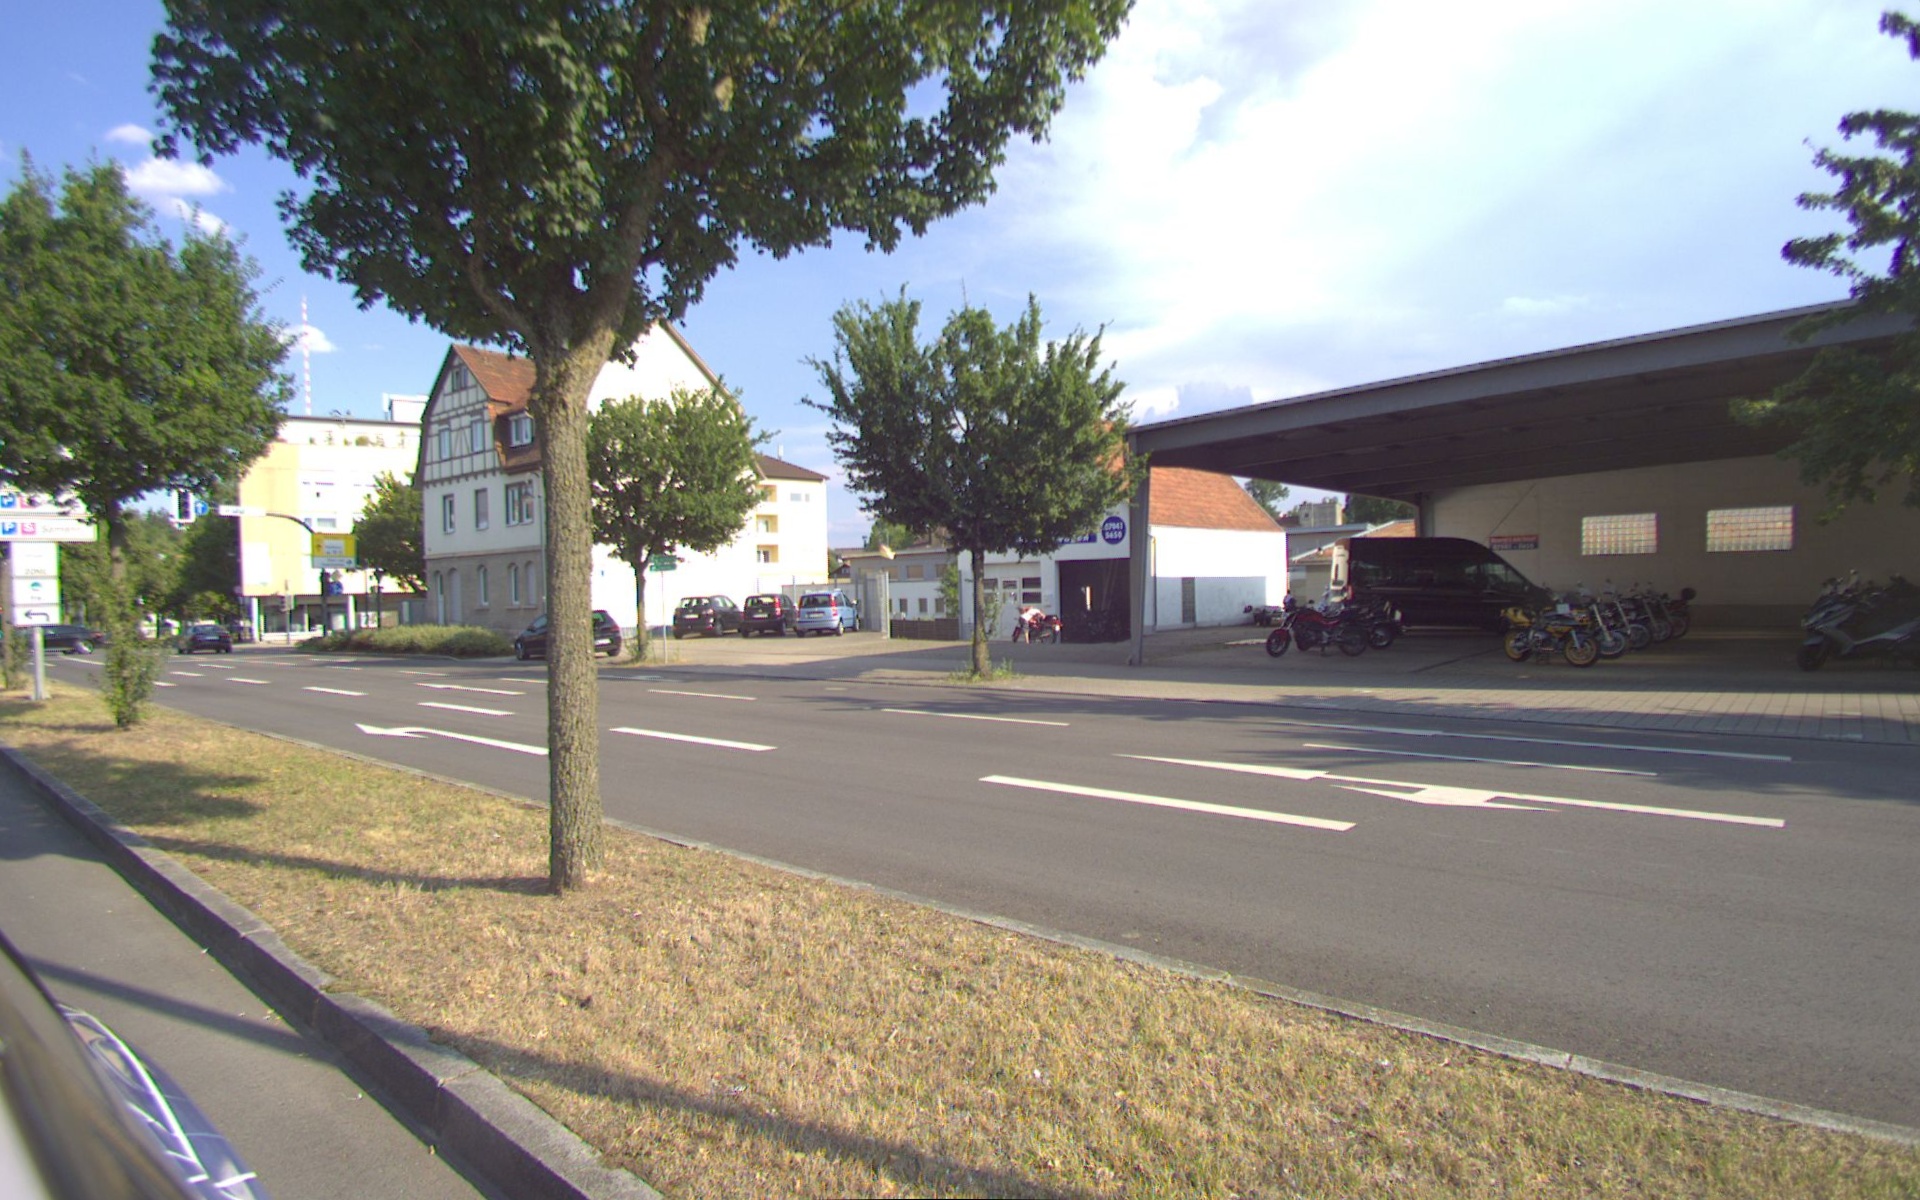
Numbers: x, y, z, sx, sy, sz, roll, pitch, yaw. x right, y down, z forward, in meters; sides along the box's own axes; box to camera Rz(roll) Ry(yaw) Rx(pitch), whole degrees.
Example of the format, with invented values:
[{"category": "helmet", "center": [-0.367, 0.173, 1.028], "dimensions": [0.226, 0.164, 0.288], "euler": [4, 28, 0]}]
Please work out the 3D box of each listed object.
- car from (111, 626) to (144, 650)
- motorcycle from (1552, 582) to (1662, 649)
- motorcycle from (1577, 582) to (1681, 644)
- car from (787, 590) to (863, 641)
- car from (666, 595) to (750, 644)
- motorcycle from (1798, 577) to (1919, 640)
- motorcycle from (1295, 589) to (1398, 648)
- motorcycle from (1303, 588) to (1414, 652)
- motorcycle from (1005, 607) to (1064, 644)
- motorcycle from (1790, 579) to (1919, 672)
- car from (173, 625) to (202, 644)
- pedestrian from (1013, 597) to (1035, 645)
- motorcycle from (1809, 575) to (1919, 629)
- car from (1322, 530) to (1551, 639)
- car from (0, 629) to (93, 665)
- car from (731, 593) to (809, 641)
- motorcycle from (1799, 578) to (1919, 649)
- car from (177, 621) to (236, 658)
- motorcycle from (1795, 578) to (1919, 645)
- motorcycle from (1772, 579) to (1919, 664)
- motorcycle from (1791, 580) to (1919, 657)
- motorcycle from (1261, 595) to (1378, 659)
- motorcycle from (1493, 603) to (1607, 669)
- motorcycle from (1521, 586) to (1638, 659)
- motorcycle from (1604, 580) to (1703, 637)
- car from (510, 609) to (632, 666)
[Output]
[{"category": "car", "center": [-62.669, 2.827, 76.218], "dimensions": [1.754, 1.706, 4.009], "euler": [-1, 0, -37]}, {"category": "motorcycle", "center": [13.864, 0.318, 21.774], "dimensions": [0.621, 1.347, 2.269], "euler": [-1, 0, -9]}, {"category": "motorcycle", "center": [15.537, 0.295, 23.584], "dimensions": [0.621, 1.347, 2.269], "euler": [-1, 0, -9]}, {"category": "car", "center": [-4.682, 0.513, 35.684], "dimensions": [1.797, 1.512, 3.819], "euler": [-3, 2, 5]}, {"category": "car", "center": [-9.321, 0.683, 37.706], "dimensions": [1.797, 1.512, 3.819], "euler": [-3, 2, 5]}, {"category": "motorcycle", "center": [20.228, 0.200, 22.649], "dimensions": [2.103, 1.306, 0.628], "euler": [-3, -1, 18]}, {"category": "motorcycle", "center": [9.379, 0.446, 24.613], "dimensions": [2.198, 1.372, 0.630], "euler": [-1, 0, 5]}, {"category": "motorcycle", "center": [8.956, 0.444, 22.810], "dimensions": [2.198, 1.372, 0.630], "euler": [-1, 0, 5]}, {"category": "motorcycle", "center": [2.434, 0.831, 33.216], "dimensions": [1.974, 1.194, 0.577], "euler": [-1, 0, 41]}, {"category": "motorcycle", "center": [13.860, 0.370, 15.121], "dimensions": [2.103, 1.306, 0.628], "euler": [-3, -1, 18]}, {"category": "car", "center": [-76.343, 3.396, 100.036], "dimensions": [1.752, 1.706, 4.012], "euler": [-1, 0, -30]}, {"category": "pedestrian", "center": [2.073, 0.668, 32.771], "dimensions": [0.485, 1.530, 0.496], "euler": [-1, 0, 41]}, {"category": "motorcycle", "center": [23.734, 0.065, 26.526], "dimensions": [2.103, 1.306, 0.628], "euler": [-3, -1, 18]}, {"category": "car", "center": [12.866, -0.385, 27.633], "dimensions": [5.221, 2.773, 1.996], "euler": [-1, 0, 7]}, {"category": "car", "center": [-47.618, 2.415, 52.241], "dimensions": [1.779, 1.687, 3.962], "euler": [-1, 0, 28]}, {"category": "car", "center": [-6.920, 0.578, 37.314], "dimensions": [1.797, 1.512, 3.819], "euler": [-3, 2, 5]}, {"category": "motorcycle", "center": [18.045, 0.263, 19.993], "dimensions": [2.103, 1.306, 0.628], "euler": [-3, -1, 18]}, {"category": "car", "center": [-37.265, 1.919, 50.019], "dimensions": [4.002, 1.706, 1.757], "euler": [-1, 0, 45]}, {"category": "motorcycle", "center": [19.034, 0.250, 21.294], "dimensions": [2.103, 1.306, 0.628], "euler": [-3, -1, 18]}, {"category": "motorcycle", "center": [14.913, 0.356, 16.781], "dimensions": [2.103, 1.306, 0.628], "euler": [-3, -1, 18]}, {"category": "motorcycle", "center": [16.531, 0.334, 18.353], "dimensions": [2.103, 1.306, 0.628], "euler": [-3, -1, 18]}, {"category": "motorcycle", "center": [7.496, 0.556, 21.166], "dimensions": [2.202, 1.290, 0.629], "euler": [-1, 0, 11]}, {"category": "motorcycle", "center": [10.531, 0.614, 18.157], "dimensions": [0.621, 1.095, 2.038], "euler": [-1, 0, -7]}, {"category": "motorcycle", "center": [12.158, 0.432, 19.961], "dimensions": [0.621, 1.347, 2.269], "euler": [-1, 0, -9]}, {"category": "motorcycle", "center": [17.291, 0.213, 25.308], "dimensions": [0.621, 1.347, 2.269], "euler": [-1, 0, -9]}, {"category": "car", "center": [-11.600, 1.075, 30.083], "dimensions": [3.823, 1.462, 1.795], "euler": [-1, 2, 42]}]
